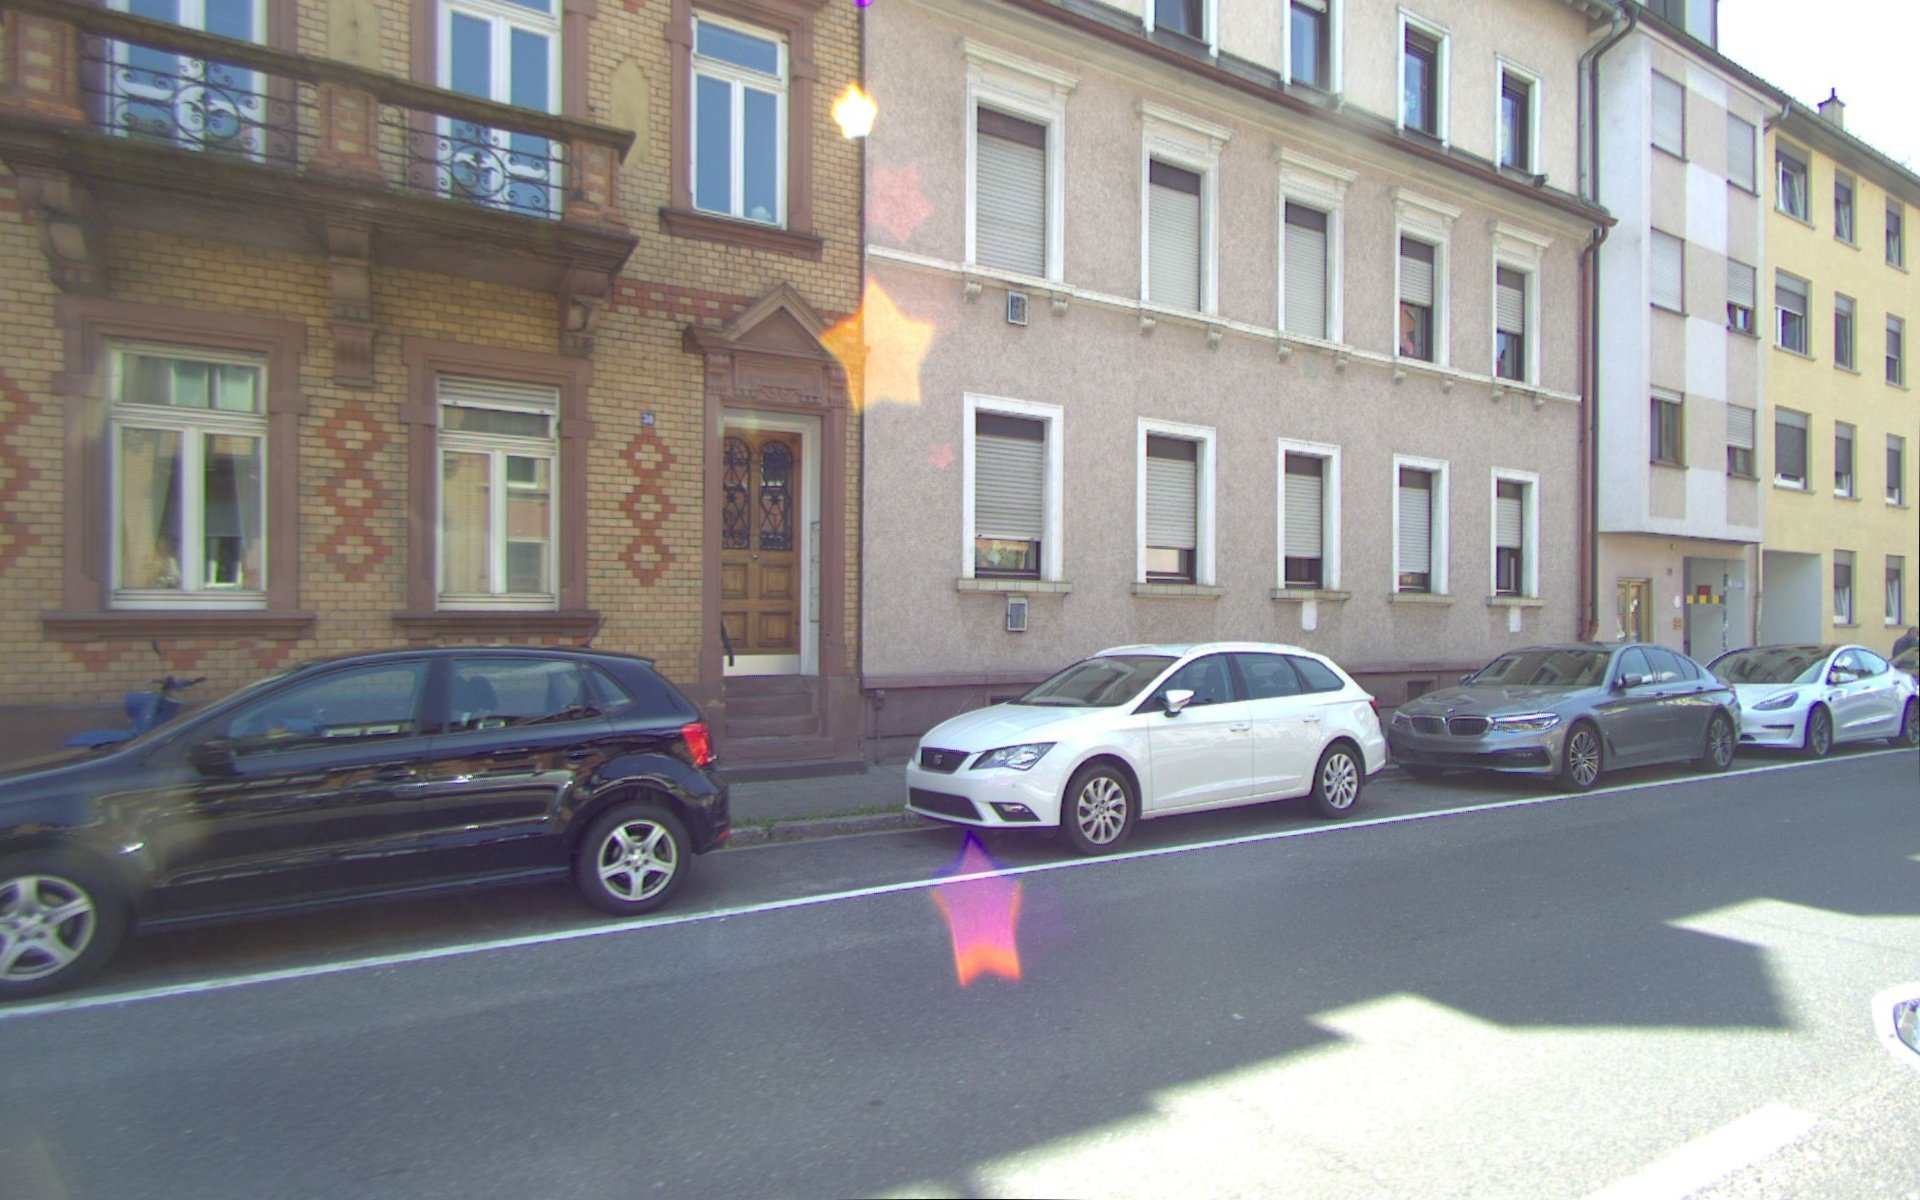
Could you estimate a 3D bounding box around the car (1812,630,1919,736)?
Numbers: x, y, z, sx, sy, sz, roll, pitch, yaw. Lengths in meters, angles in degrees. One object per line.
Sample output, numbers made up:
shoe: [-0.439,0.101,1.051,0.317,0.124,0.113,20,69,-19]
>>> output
car: [17.187,1.359,16.991,4.479,1.659,1.907,0,-3,-13]

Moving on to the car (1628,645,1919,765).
car: [11.505,1.379,13.978,4.503,1.441,1.832,2,-5,-30]

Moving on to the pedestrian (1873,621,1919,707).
pedestrian: [20.167,1.342,21.393,0.954,1.773,1.150,-1,-2,38]

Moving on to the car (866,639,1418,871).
car: [1.616,1.079,8.279,4.454,1.441,1.830,2,-4,-33]

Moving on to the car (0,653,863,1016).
car: [-2.951,1.055,5.633,4.449,1.440,1.832,2,-5,-30]

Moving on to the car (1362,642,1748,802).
car: [6.684,1.219,11.142,4.596,1.441,1.830,2,-4,-33]

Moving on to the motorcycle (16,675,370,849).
motorcycle: [-5.413,1.106,7.270,1.912,1.067,0.710,2,-1,-28]
